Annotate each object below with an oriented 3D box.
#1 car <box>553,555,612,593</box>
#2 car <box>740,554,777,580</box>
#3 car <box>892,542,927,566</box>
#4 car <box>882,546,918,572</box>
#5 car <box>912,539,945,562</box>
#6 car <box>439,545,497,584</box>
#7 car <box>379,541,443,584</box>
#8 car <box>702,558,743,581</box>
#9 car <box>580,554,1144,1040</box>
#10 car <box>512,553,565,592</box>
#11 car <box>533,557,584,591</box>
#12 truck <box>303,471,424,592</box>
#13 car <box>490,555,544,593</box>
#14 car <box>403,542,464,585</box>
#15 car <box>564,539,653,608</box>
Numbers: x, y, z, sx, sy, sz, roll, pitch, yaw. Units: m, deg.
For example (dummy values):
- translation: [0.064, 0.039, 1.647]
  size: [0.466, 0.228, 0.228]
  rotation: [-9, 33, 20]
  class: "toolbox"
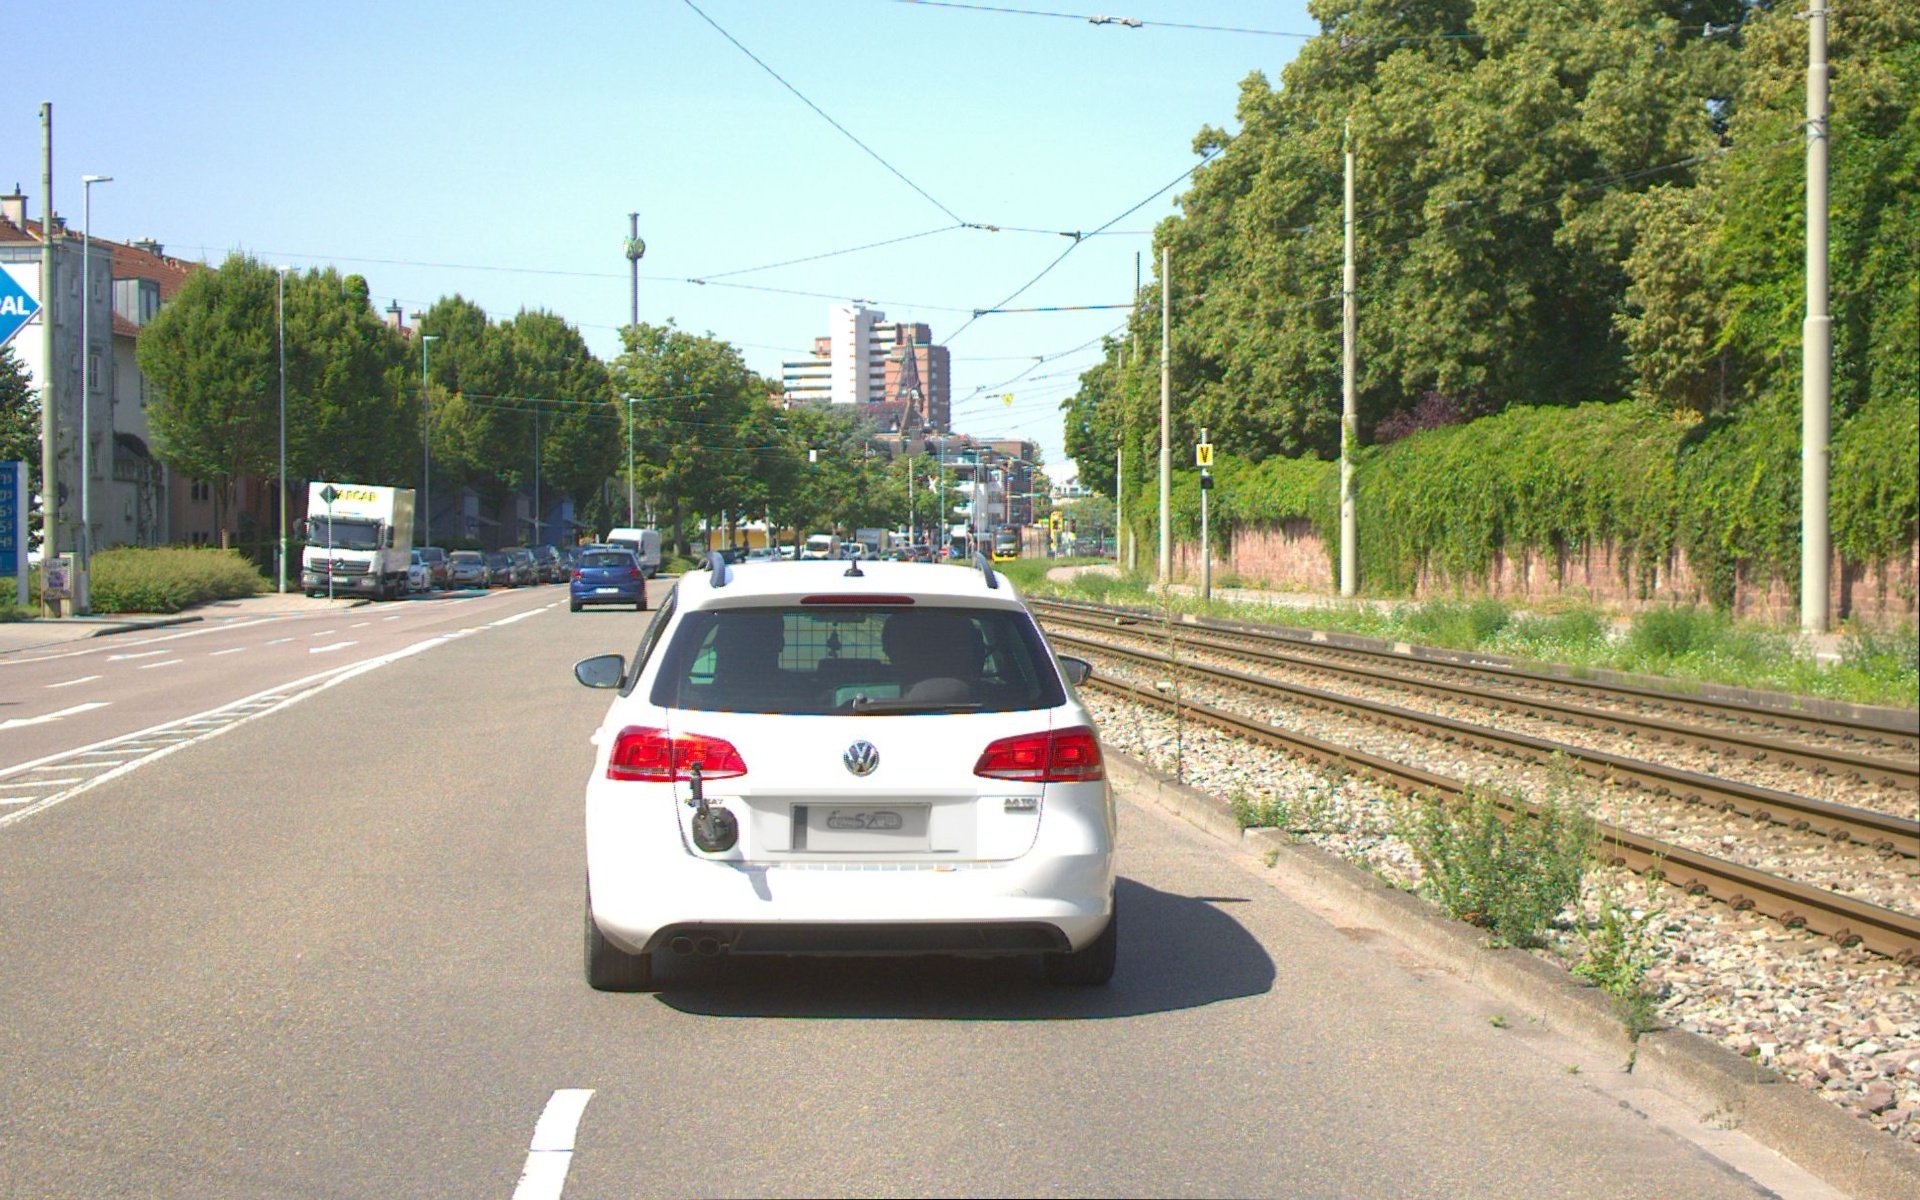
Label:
- translation: [-18.216, -1.269, 165.990]
  size: [1.801, 1.719, 4.908]
  rotation: [3, 1, 5]
  class: "car"
- translation: [-11.349, -1.867, 193.603]
  size: [1.659, 1.415, 4.310]
  rotation: [-2, 1, 1]
  class: "car"
- translation: [-3.107, -2.848, 212.855]
  size: [1.801, 1.455, 4.000]
  rotation: [1, 1, 4]
  class: "car"
- translation: [-3.631, -2.498, 207.185]
  size: [1.801, 1.502, 4.000]
  rotation: [1, 1, 4]
  class: "car"
- translation: [-2.020, -3.185, 221.030]
  size: [1.801, 1.455, 3.999]
  rotation: [0, 1, 4]
  class: "car"
- translation: [-19.627, -1.398, 137.177]
  size: [1.780, 1.478, 4.858]
  rotation: [1, 0, -2]
  class: "car"
- translation: [-19.101, -1.301, 119.799]
  size: [1.757, 1.424, 4.282]
  rotation: [1, 1, -3]
  class: "car"
- translation: [-14.494, -1.879, 210.194]
  size: [1.700, 1.412, 3.999]
  rotation: [0, 0, 8]
  class: "car"
- translation: [-0.427, 0.573, 12.670]
  size: [1.691, 1.446, 4.459]
  rotation: [1, 1, -3]
  class: "car"
- translation: [-19.017, -1.251, 155.377]
  size: [1.769, 1.717, 4.870]
  rotation: [2, 1, 0]
  class: "car"
- translation: [-18.790, -1.223, 160.856]
  size: [1.690, 1.469, 4.048]
  rotation: [3, 1, 2]
  class: "car"
- translation: [-18.417, -2.101, 106.589]
  size: [2.666, 3.518, 8.591]
  rotation: [1, 1, -3]
  class: "truck"
- translation: [-19.280, -1.147, 149.840]
  size: [1.717, 1.619, 4.312]
  rotation: [1, 1, 1]
  class: "car"
- translation: [-19.348, -1.354, 126.532]
  size: [1.730, 1.546, 4.319]
  rotation: [1, 1, -2]
  class: "car"
- translation: [-8.097, -0.629, 79.459]
  size: [1.800, 1.502, 4.001]
  rotation: [1, 2, -3]
  class: "car"
